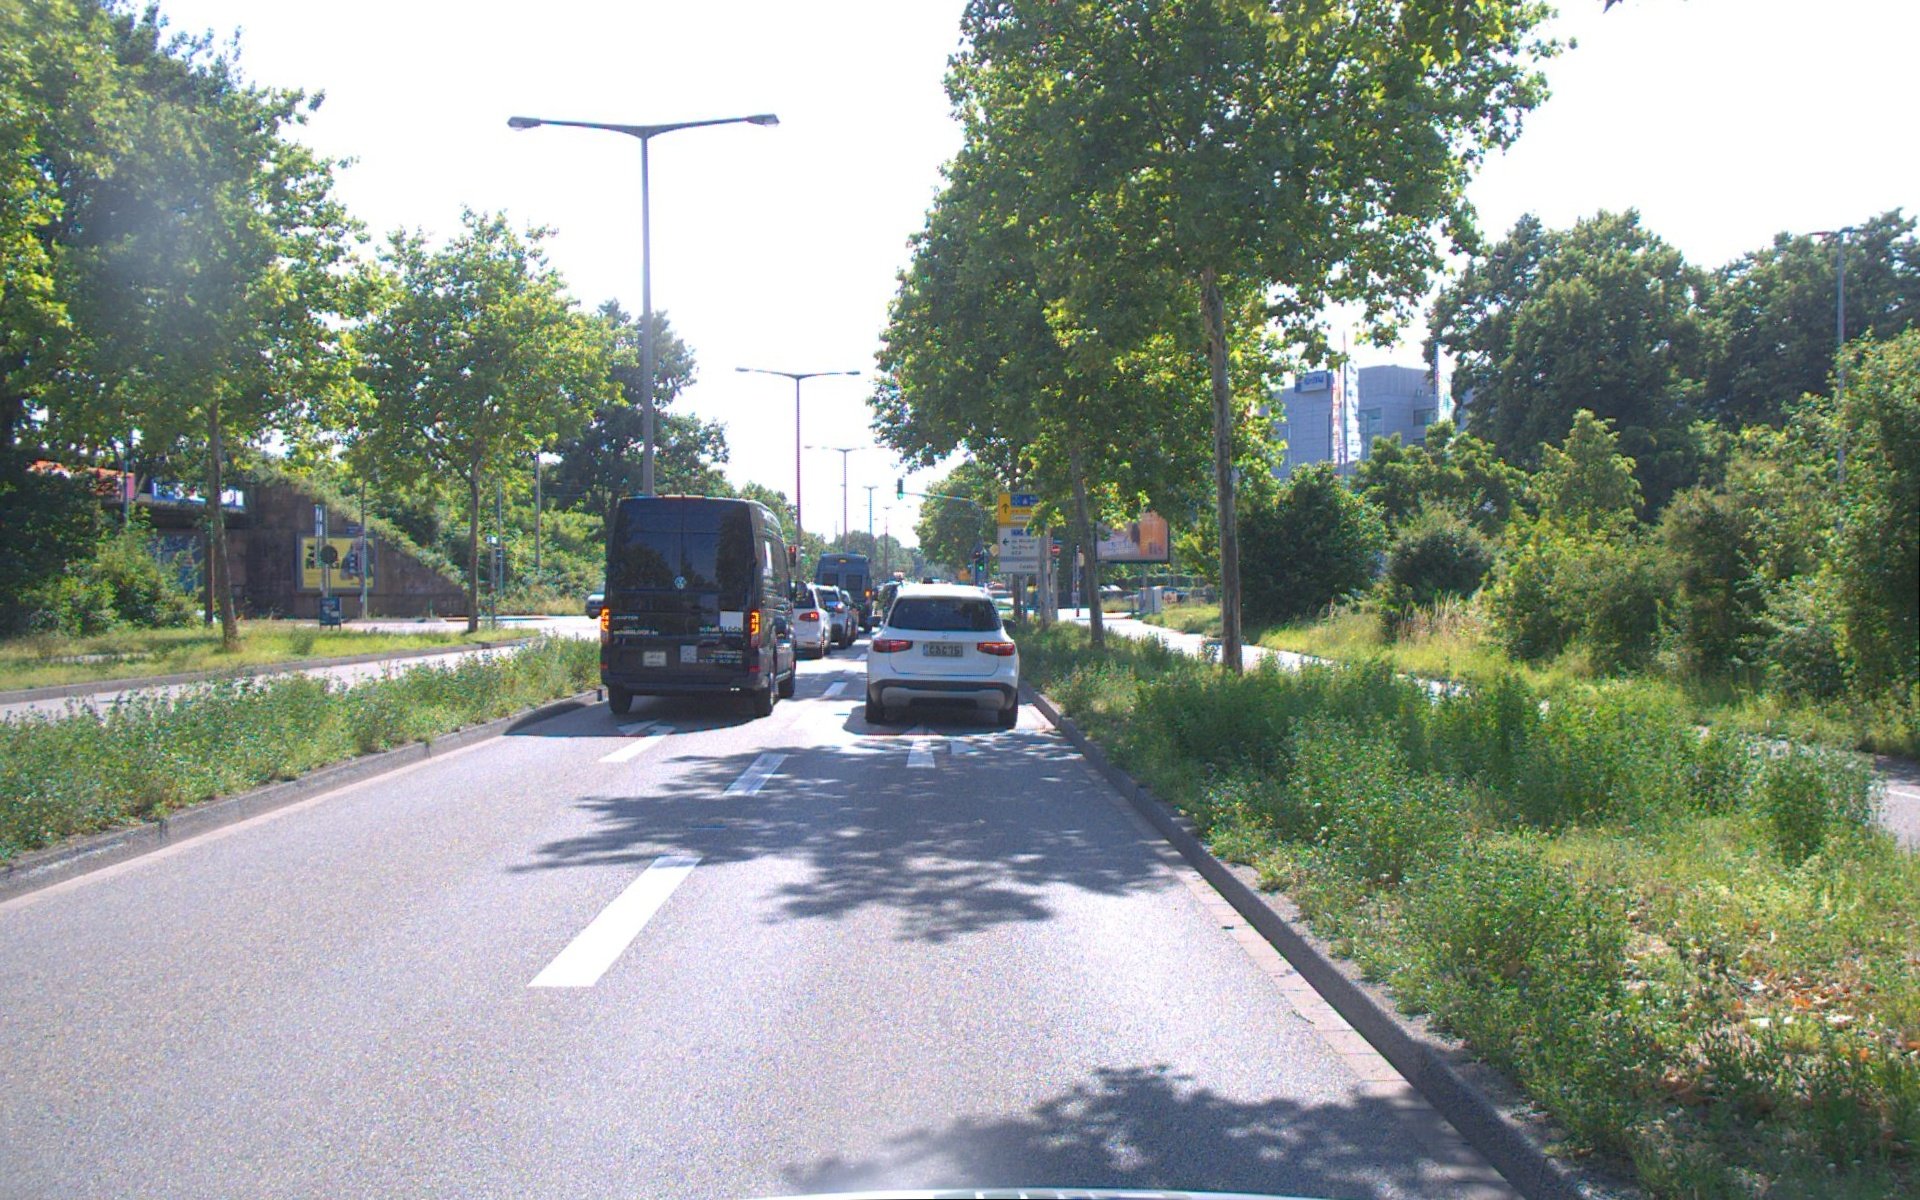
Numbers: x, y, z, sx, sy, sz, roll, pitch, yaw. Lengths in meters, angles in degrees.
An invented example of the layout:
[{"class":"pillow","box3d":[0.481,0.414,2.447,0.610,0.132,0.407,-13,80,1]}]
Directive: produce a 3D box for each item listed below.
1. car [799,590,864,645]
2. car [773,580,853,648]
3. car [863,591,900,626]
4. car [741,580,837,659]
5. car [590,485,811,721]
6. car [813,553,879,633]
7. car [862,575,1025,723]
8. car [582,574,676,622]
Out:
[{"class":"car","box3d":[-3.781,0.484,49.281,1.657,1.531,3.885,2,0,-1]},{"class":"car","box3d":[-3.787,0.339,43.242,1.735,1.676,4.084,1,0,-1]},{"class":"car","box3d":[-3.259,0.331,69.221,1.434,1.428,3.476,1,0,-2]},{"class":"car","box3d":[-3.785,0.412,37.318,1.735,1.676,4.351,1,0,-1]},{"class":"car","box3d":[-3.220,0.035,21.855,1.975,2.653,6.167,1,0,-1]},{"class":"car","box3d":[-4.043,-0.234,59.529,2.039,2.703,4.873,1,0,-1]},{"class":"car","box3d":[-0.208,0.547,20.697,1.816,1.635,3.999,1,0,-1]},{"class":"car","box3d":[-17.486,-0.131,87.508,1.957,2.460,5.128,1,0,30]}]
